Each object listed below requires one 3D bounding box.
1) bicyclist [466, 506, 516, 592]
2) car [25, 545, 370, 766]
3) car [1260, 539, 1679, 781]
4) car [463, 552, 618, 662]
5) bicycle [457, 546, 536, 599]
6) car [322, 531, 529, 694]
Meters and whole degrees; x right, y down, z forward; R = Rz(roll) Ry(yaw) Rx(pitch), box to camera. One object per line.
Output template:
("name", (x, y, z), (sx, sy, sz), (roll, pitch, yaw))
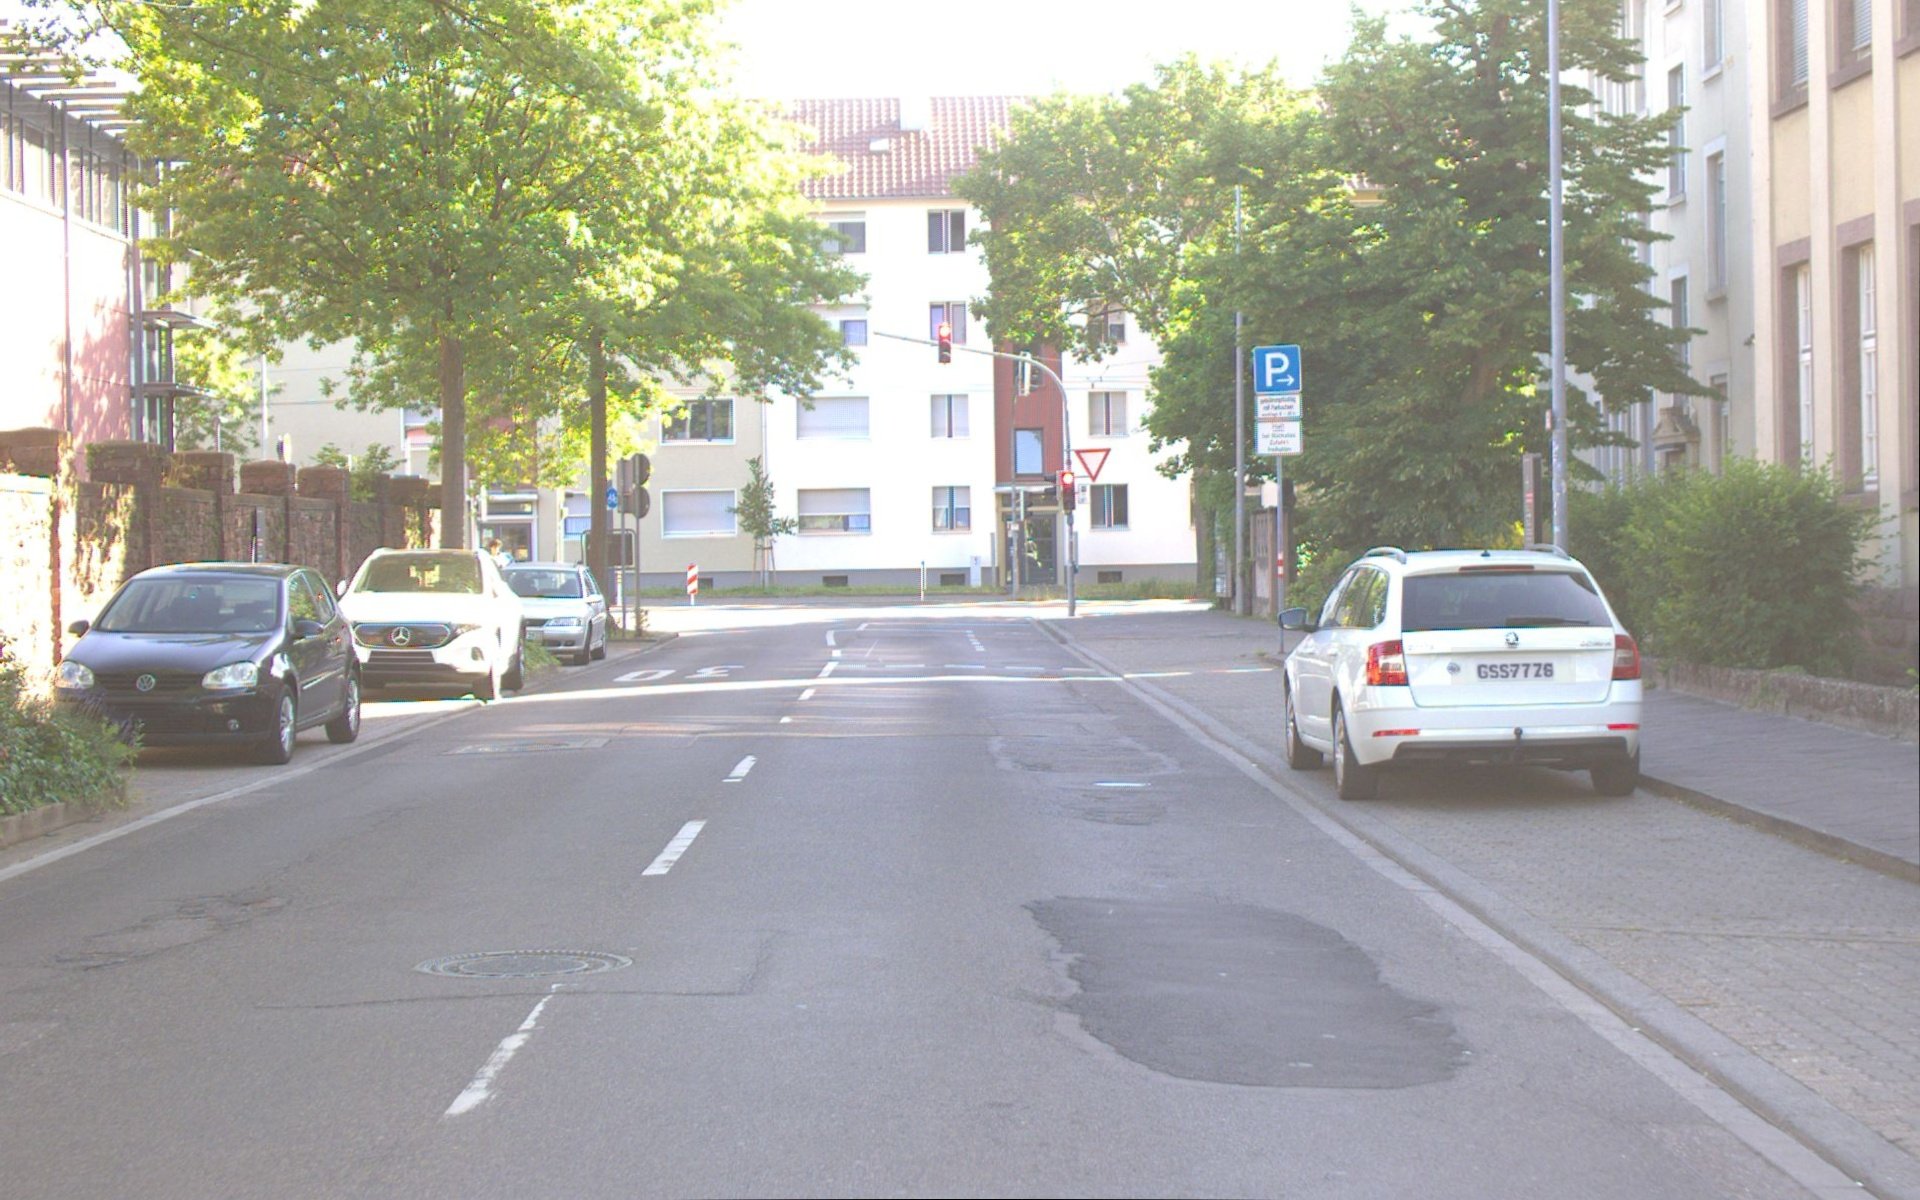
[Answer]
("bicyclist", (-9.561, -1.038, 70.078), (0.787, 1.751, 0.612), (0, 1, -42))
("car", (-5.857, 0.366, 26.871), (1.737, 1.587, 4.107), (0, 1, 1))
("car", (3.035, 0.301, 21.406), (1.832, 1.318, 4.496), (-1, 1, -1))
("car", (-6.003, 0.064, 49.626), (1.726, 1.470, 4.478), (1, 1, -1))
("bicycle", (-9.453, -0.565, 70.180), (1.684, 1.076, 0.351), (0, 1, -42))
("car", (-5.779, 0.094, 37.595), (1.720, 1.678, 4.351), (0, 1, -2))
